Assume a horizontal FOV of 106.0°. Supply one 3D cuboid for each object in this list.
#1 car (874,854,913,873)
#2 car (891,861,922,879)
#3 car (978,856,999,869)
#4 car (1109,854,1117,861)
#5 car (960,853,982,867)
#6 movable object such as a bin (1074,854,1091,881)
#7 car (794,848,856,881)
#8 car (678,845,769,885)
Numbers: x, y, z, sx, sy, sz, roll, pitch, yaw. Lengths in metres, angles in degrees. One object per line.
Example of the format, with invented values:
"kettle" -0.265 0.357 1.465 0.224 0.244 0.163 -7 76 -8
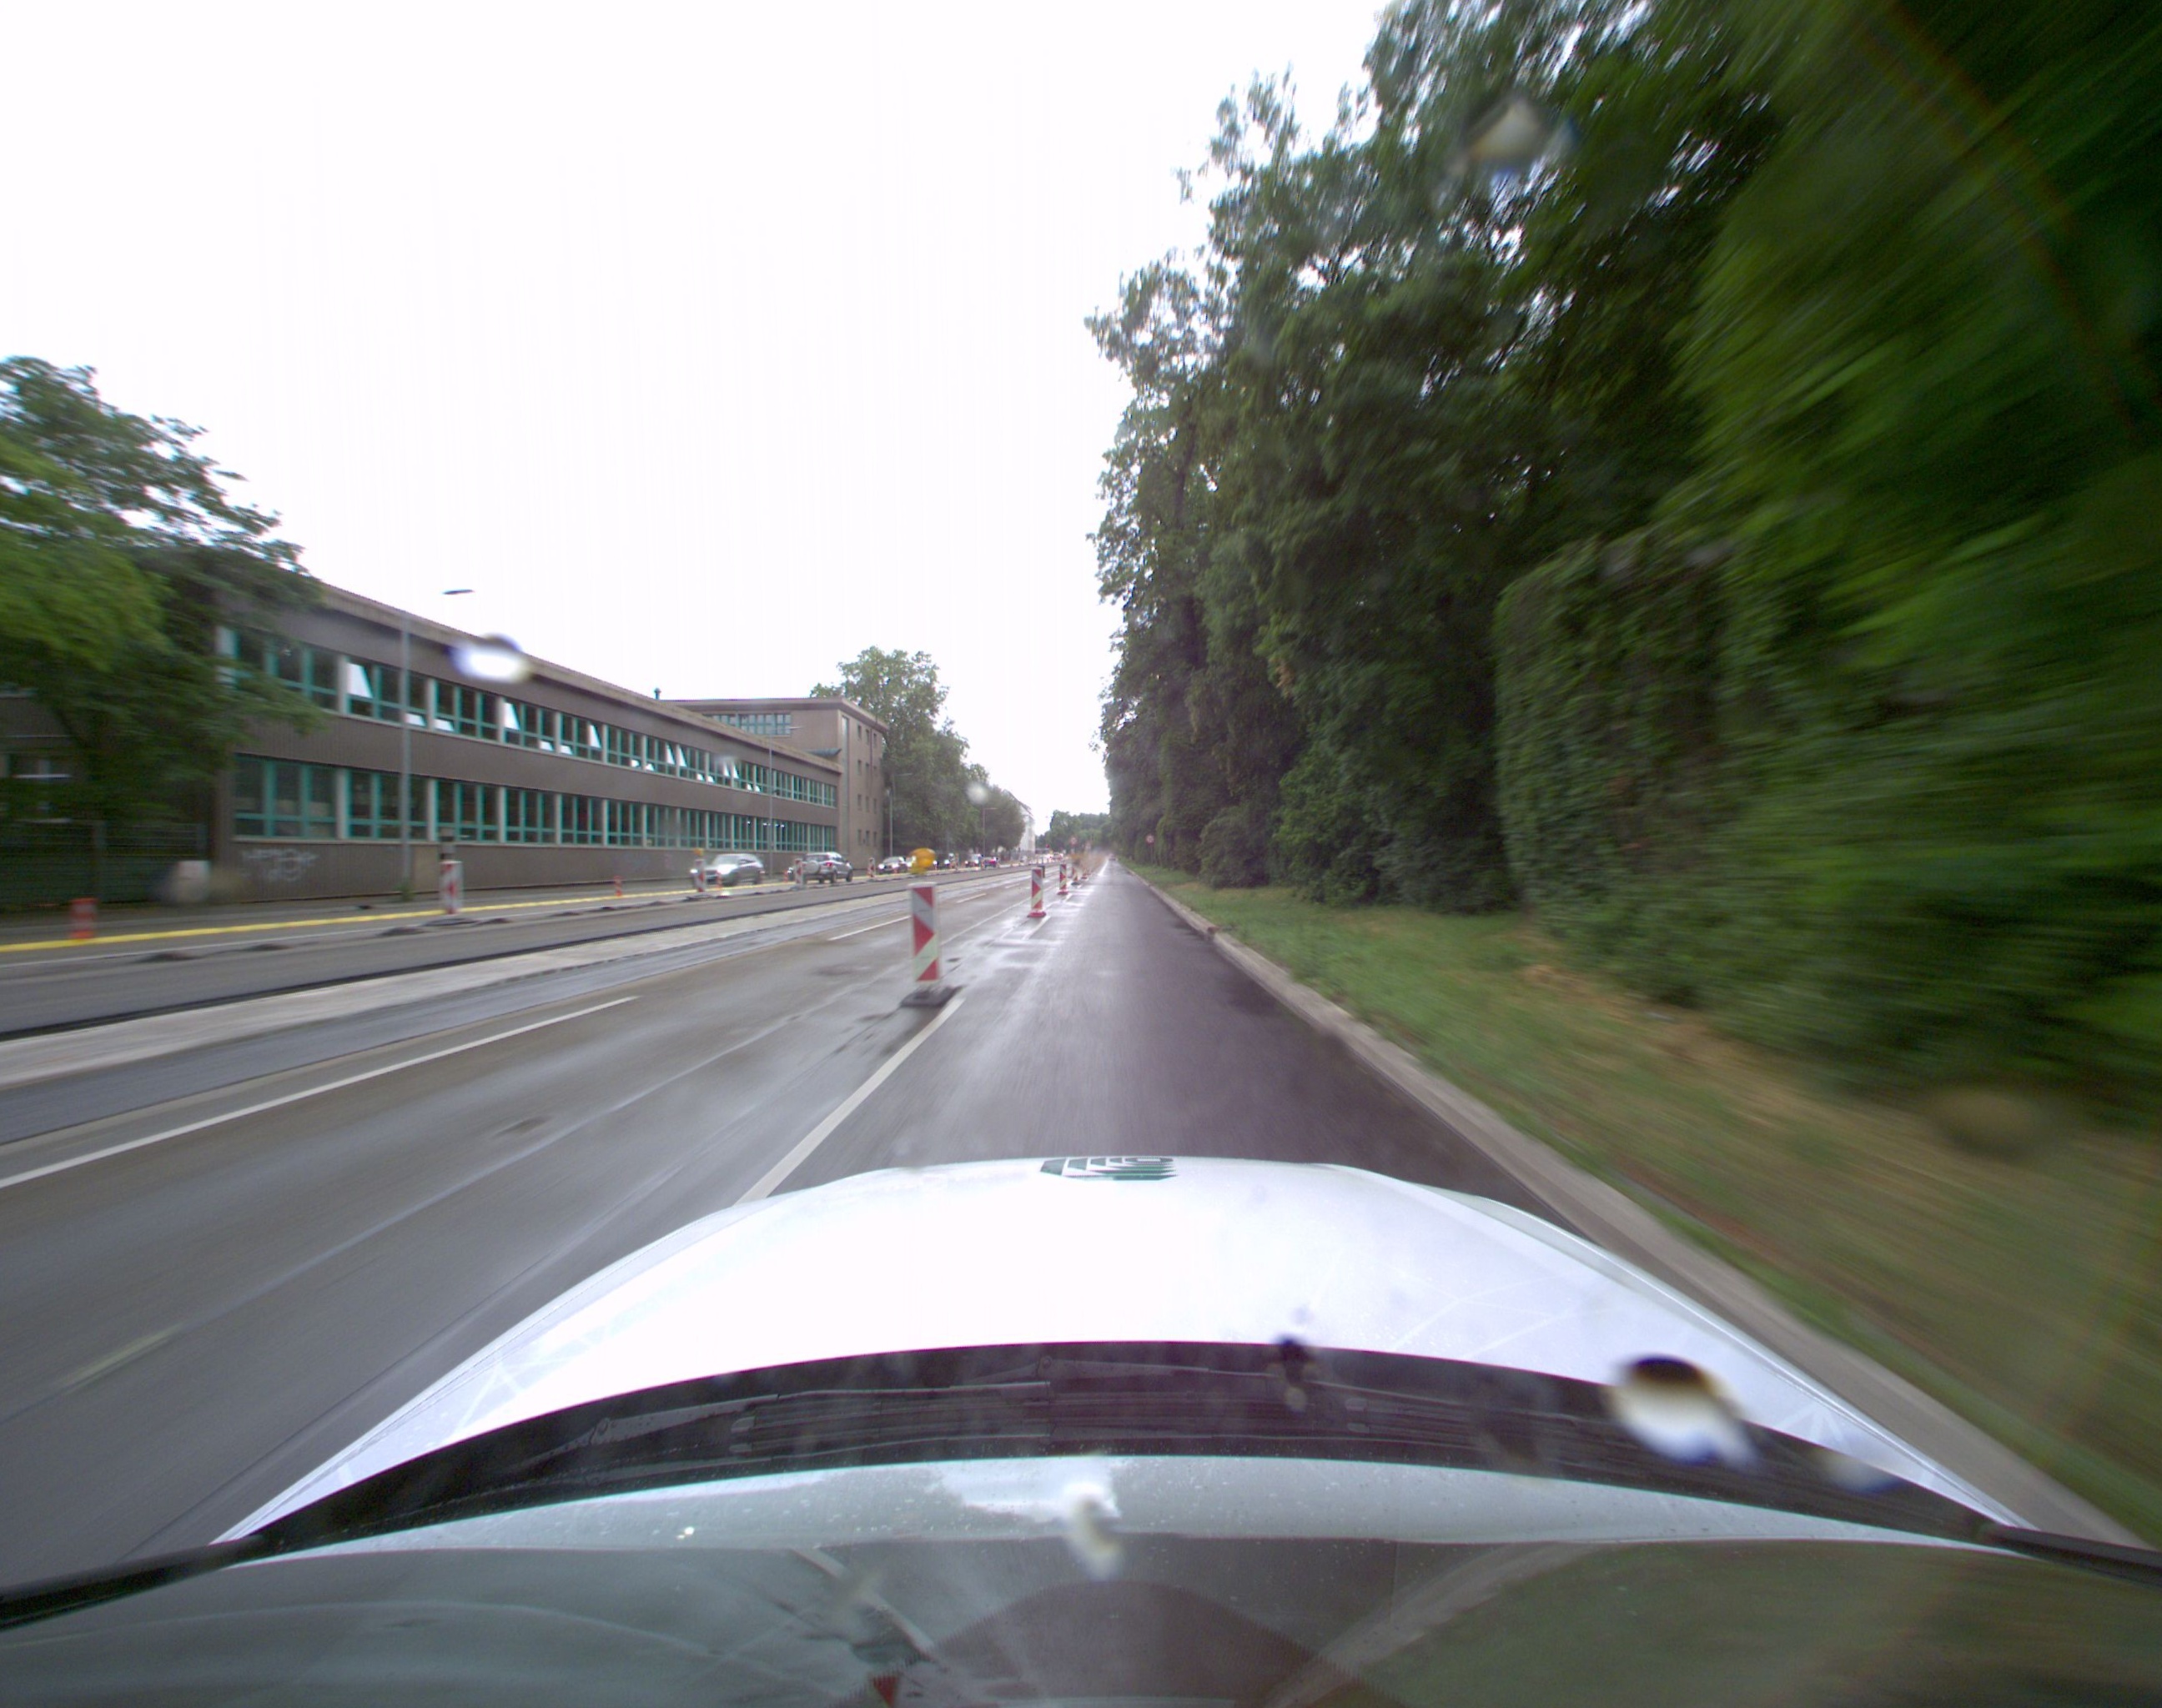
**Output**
"car" -15.652 0.822 68.189 1.886 1.502 4.520 0 -1 4
"car" -17.784 1.638 83.172 1.931 1.706 4.935 0 -1 1
"car" -11.375 1.013 100.157 1.986 1.519 4.001 0 -1 2
"car" 8.353 0.879 211.685 1.986 1.673 4.002 0 -1 2
"car" -14.718 0.831 109.542 1.985 1.780 4.959 0 -1 4
"movable object such as a bin" 0.205 1.716 104.962 1.986 3.368 5.984 0 -1 2
"car" -13.332 0.566 42.619 1.847 1.648 4.001 0 -1 2
"car" -16.842 0.535 38.658 1.980 1.768 4.678 0 -1 3
